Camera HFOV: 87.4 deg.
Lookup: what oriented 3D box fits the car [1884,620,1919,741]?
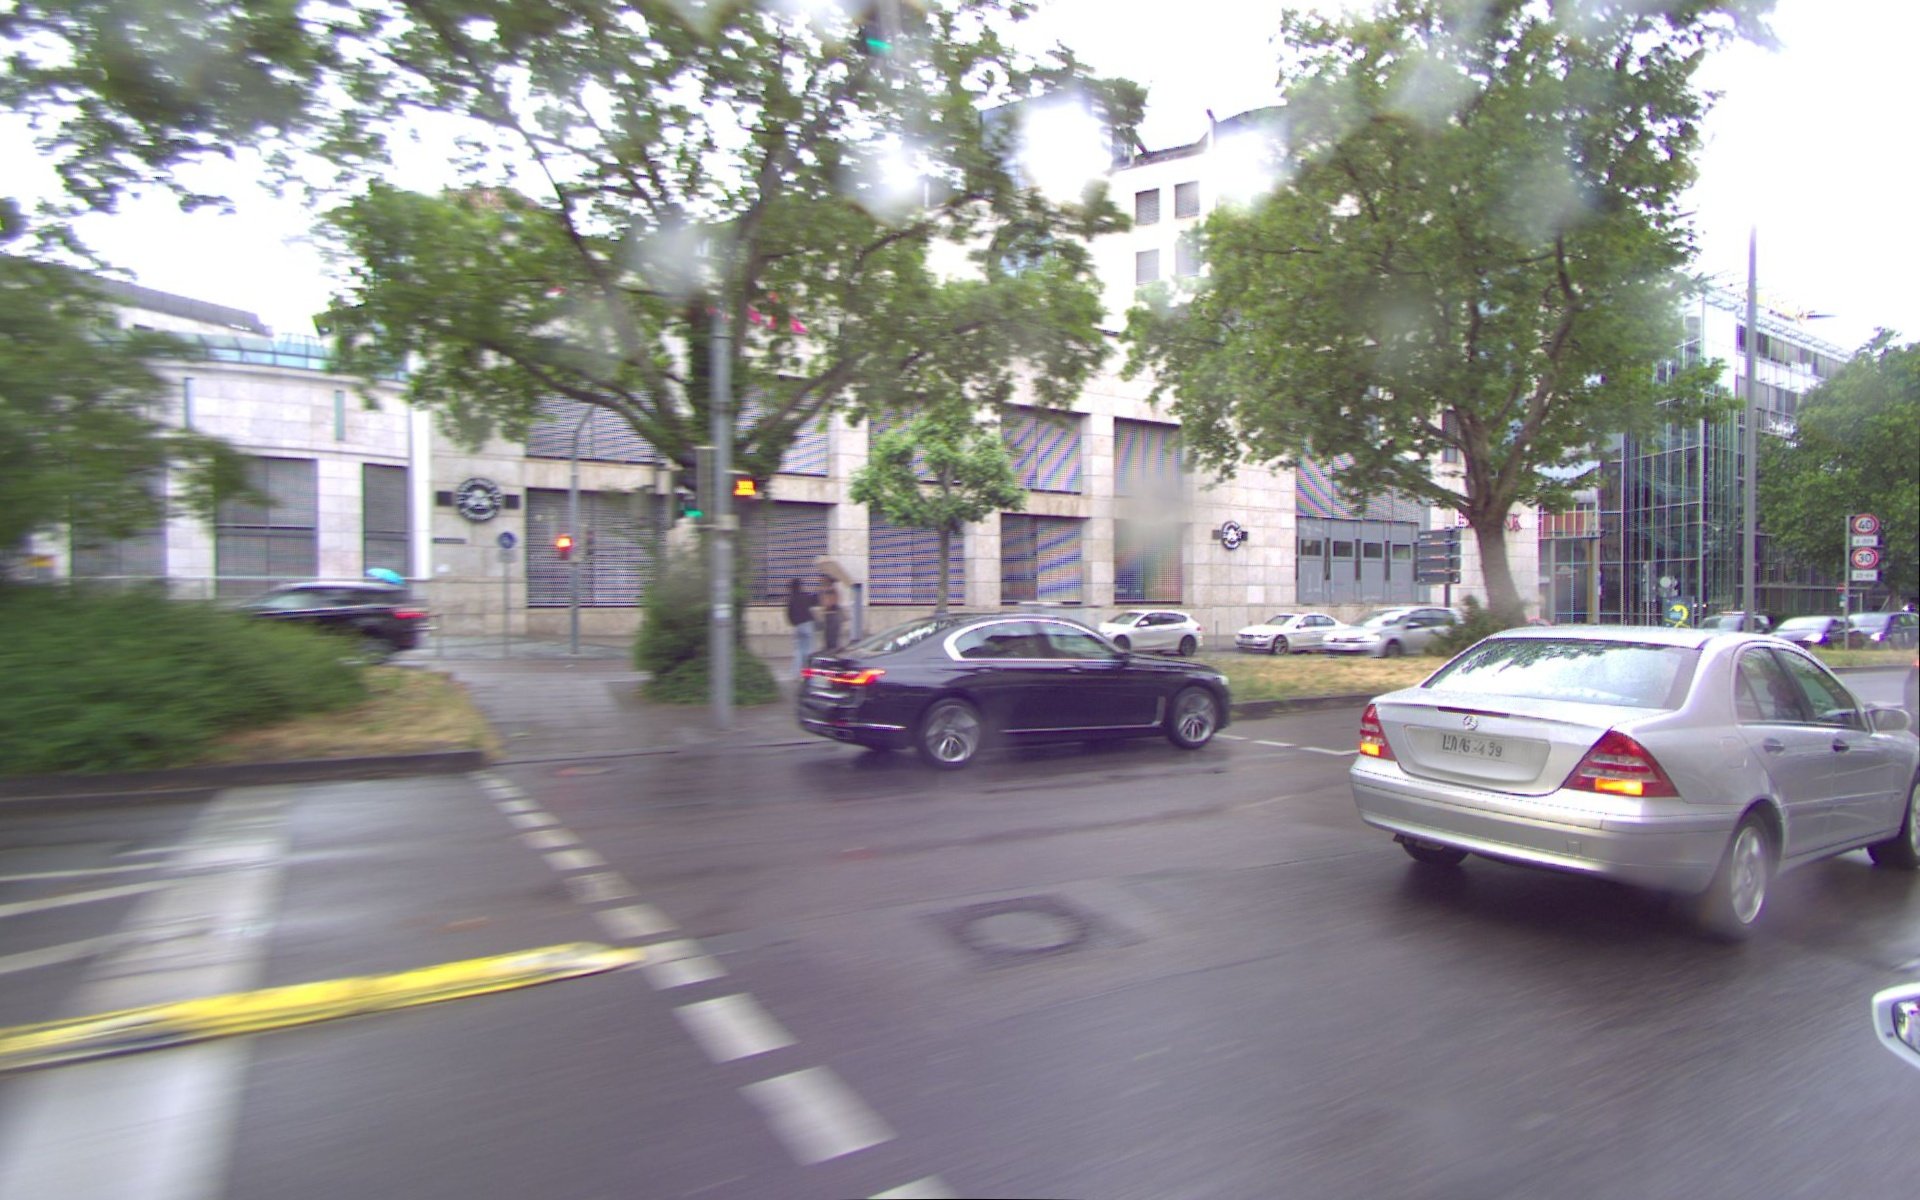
[{"bbox_3d":[13.642,1.051,13.054,3.964,1.476,1.761,2,-1,-38],"label":"car"}]

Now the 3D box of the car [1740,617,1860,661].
[{"bbox_3d":[28.923,1.341,34.578,3.891,1.383,1.741,2,-1,-26],"label":"car"}]

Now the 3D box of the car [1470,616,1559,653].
[{"bbox_3d":[23.042,1.426,41.740,3.357,1.434,1.587,2,-1,-27],"label":"car"}]

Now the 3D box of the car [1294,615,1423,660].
[{"bbox_3d":[13.434,1.260,33.848,4.119,1.383,1.741,2,-1,-26],"label":"car"}]

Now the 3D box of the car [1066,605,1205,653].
[{"bbox_3d":[5.721,0.933,32.672,4.236,1.434,1.742,2,-1,-26],"label":"car"}]

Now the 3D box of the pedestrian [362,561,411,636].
[{"bbox_3d":[-15.284,-0.038,26.775,1.112,1.950,0.585,1,2,-31],"label":"pedestrian"}]

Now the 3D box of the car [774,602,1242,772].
[{"bbox_3d":[0.603,0.837,10.850,4.818,1.498,1.865,1,-2,-29],"label":"car"}]

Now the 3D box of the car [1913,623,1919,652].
[{"bbox_3d":[50.668,1.944,51.224,4.340,1.451,1.720,2,-1,-28],"label":"car"}]

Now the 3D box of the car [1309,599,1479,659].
[{"bbox_3d":[10.846,0.737,25.073,4.079,1.383,1.740,2,-1,-28],"label":"car"}]

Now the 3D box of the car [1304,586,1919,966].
[{"bbox_3d":[4.124,0.730,5.925,4.314,1.499,1.662,1,1,-34],"label":"car"}]

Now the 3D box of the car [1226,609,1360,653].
[{"bbox_3d":[11.868,1.102,35.747,4.644,1.434,1.741,2,-1,-27],"label":"car"}]

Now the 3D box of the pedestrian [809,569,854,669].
[{"bbox_3d":[-2.135,0.304,16.748,0.440,1.636,0.641,1,1,29],"label":"pedestrian"}]

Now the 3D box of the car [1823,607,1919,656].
[{"bbox_3d":[41.079,1.424,45.081,5.040,2.029,1.824,2,-1,-28],"label":"car"}]

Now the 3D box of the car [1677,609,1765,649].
[{"bbox_3d":[33.744,1.284,44.519,4.047,1.661,1.821,2,-1,-32],"label":"car"}]

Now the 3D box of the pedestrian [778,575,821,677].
[{"bbox_3d":[-2.632,0.422,16.469,0.544,1.636,0.425,1,1,20],"label":"pedestrian"}]

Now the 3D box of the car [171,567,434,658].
[{"bbox_3d":[-13.198,0.288,20.515,4.236,1.695,1.732,2,-1,-26],"label":"car"}]
